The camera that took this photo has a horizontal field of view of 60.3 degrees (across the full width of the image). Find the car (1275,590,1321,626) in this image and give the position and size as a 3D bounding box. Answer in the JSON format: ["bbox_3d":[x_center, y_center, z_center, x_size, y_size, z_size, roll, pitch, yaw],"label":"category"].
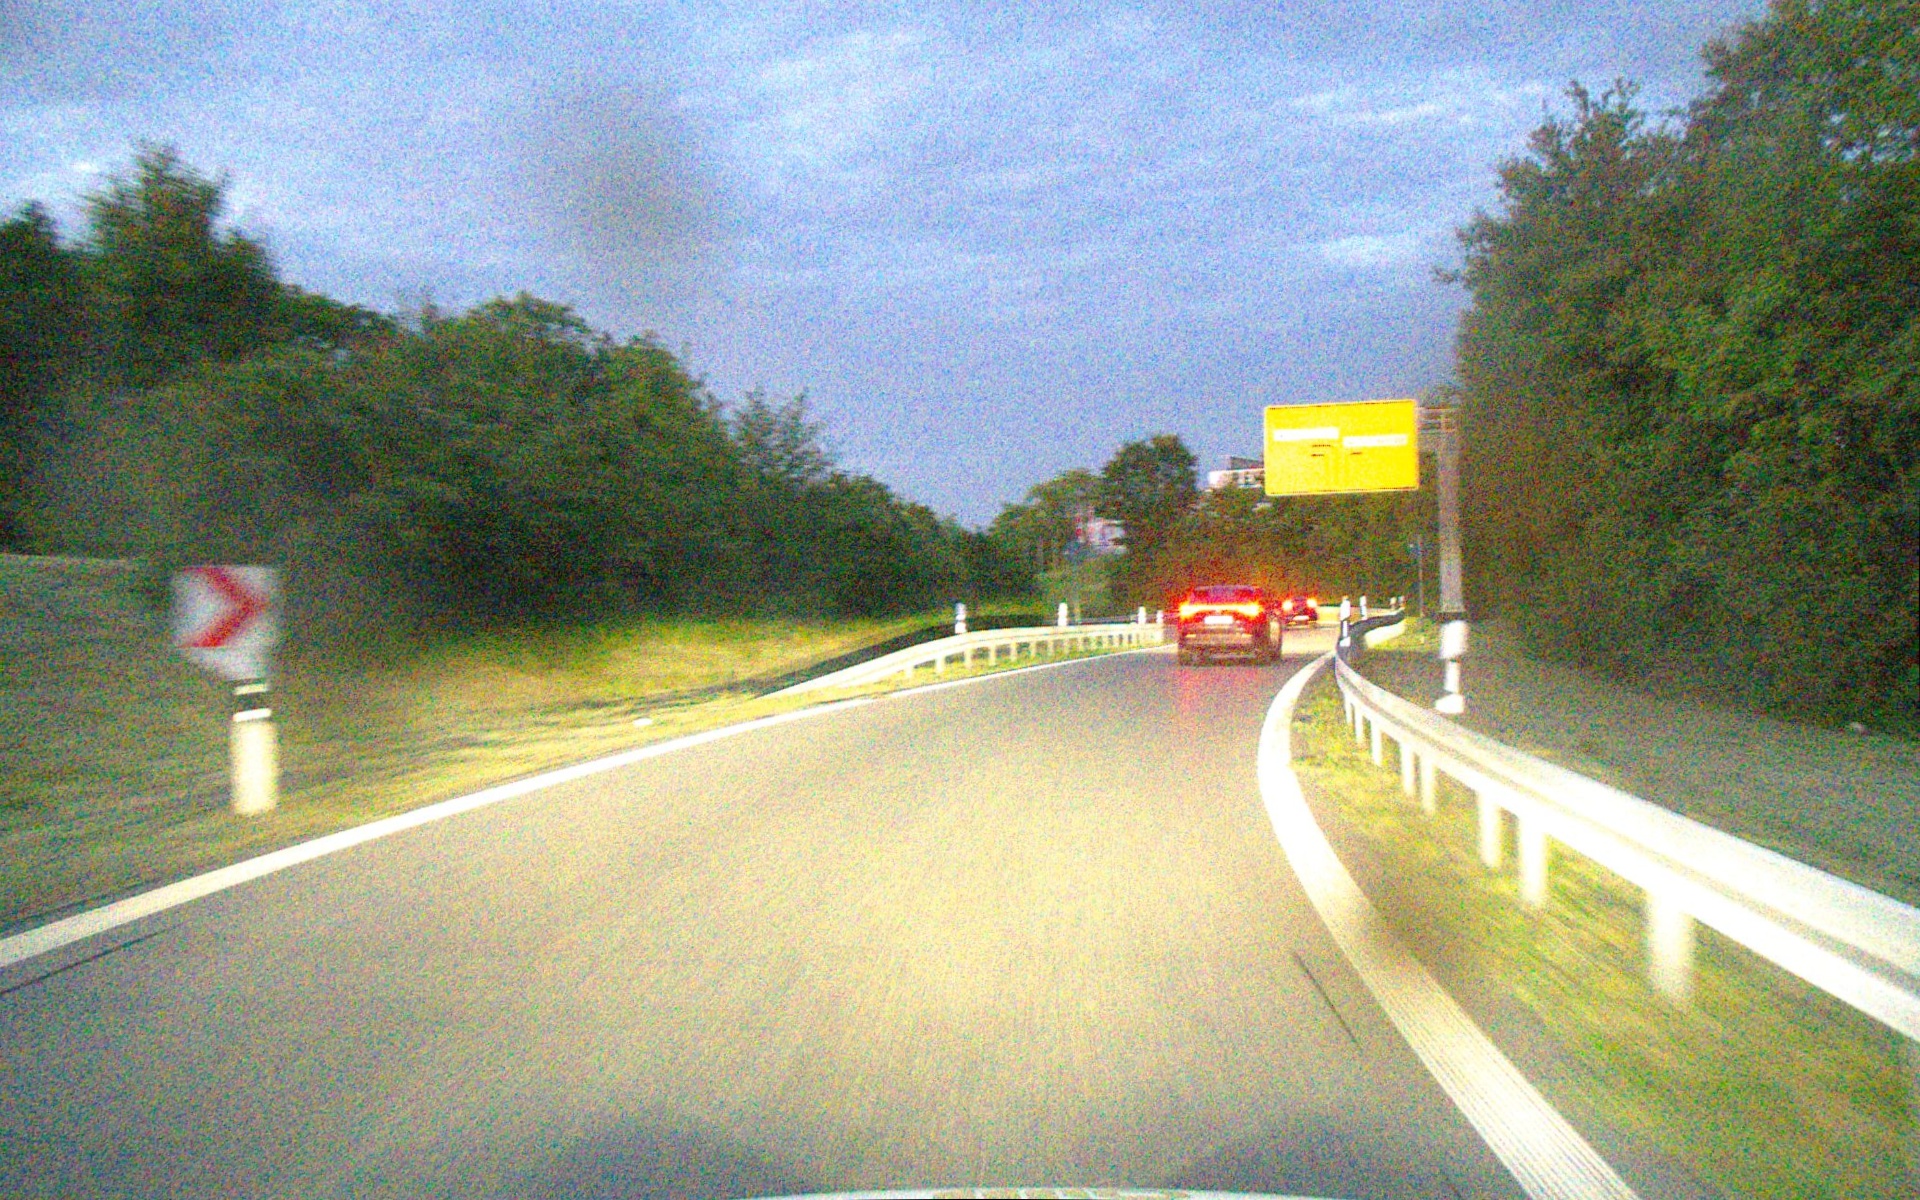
[{"bbox_3d":[16.063,0.346,78.443,1.951,1.626,4.003,0,0,14],"label":"car"}]

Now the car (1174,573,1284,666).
[{"bbox_3d":[5.686,0.347,34.592,1.951,1.688,4.319,-2,1,13],"label":"car"}]
